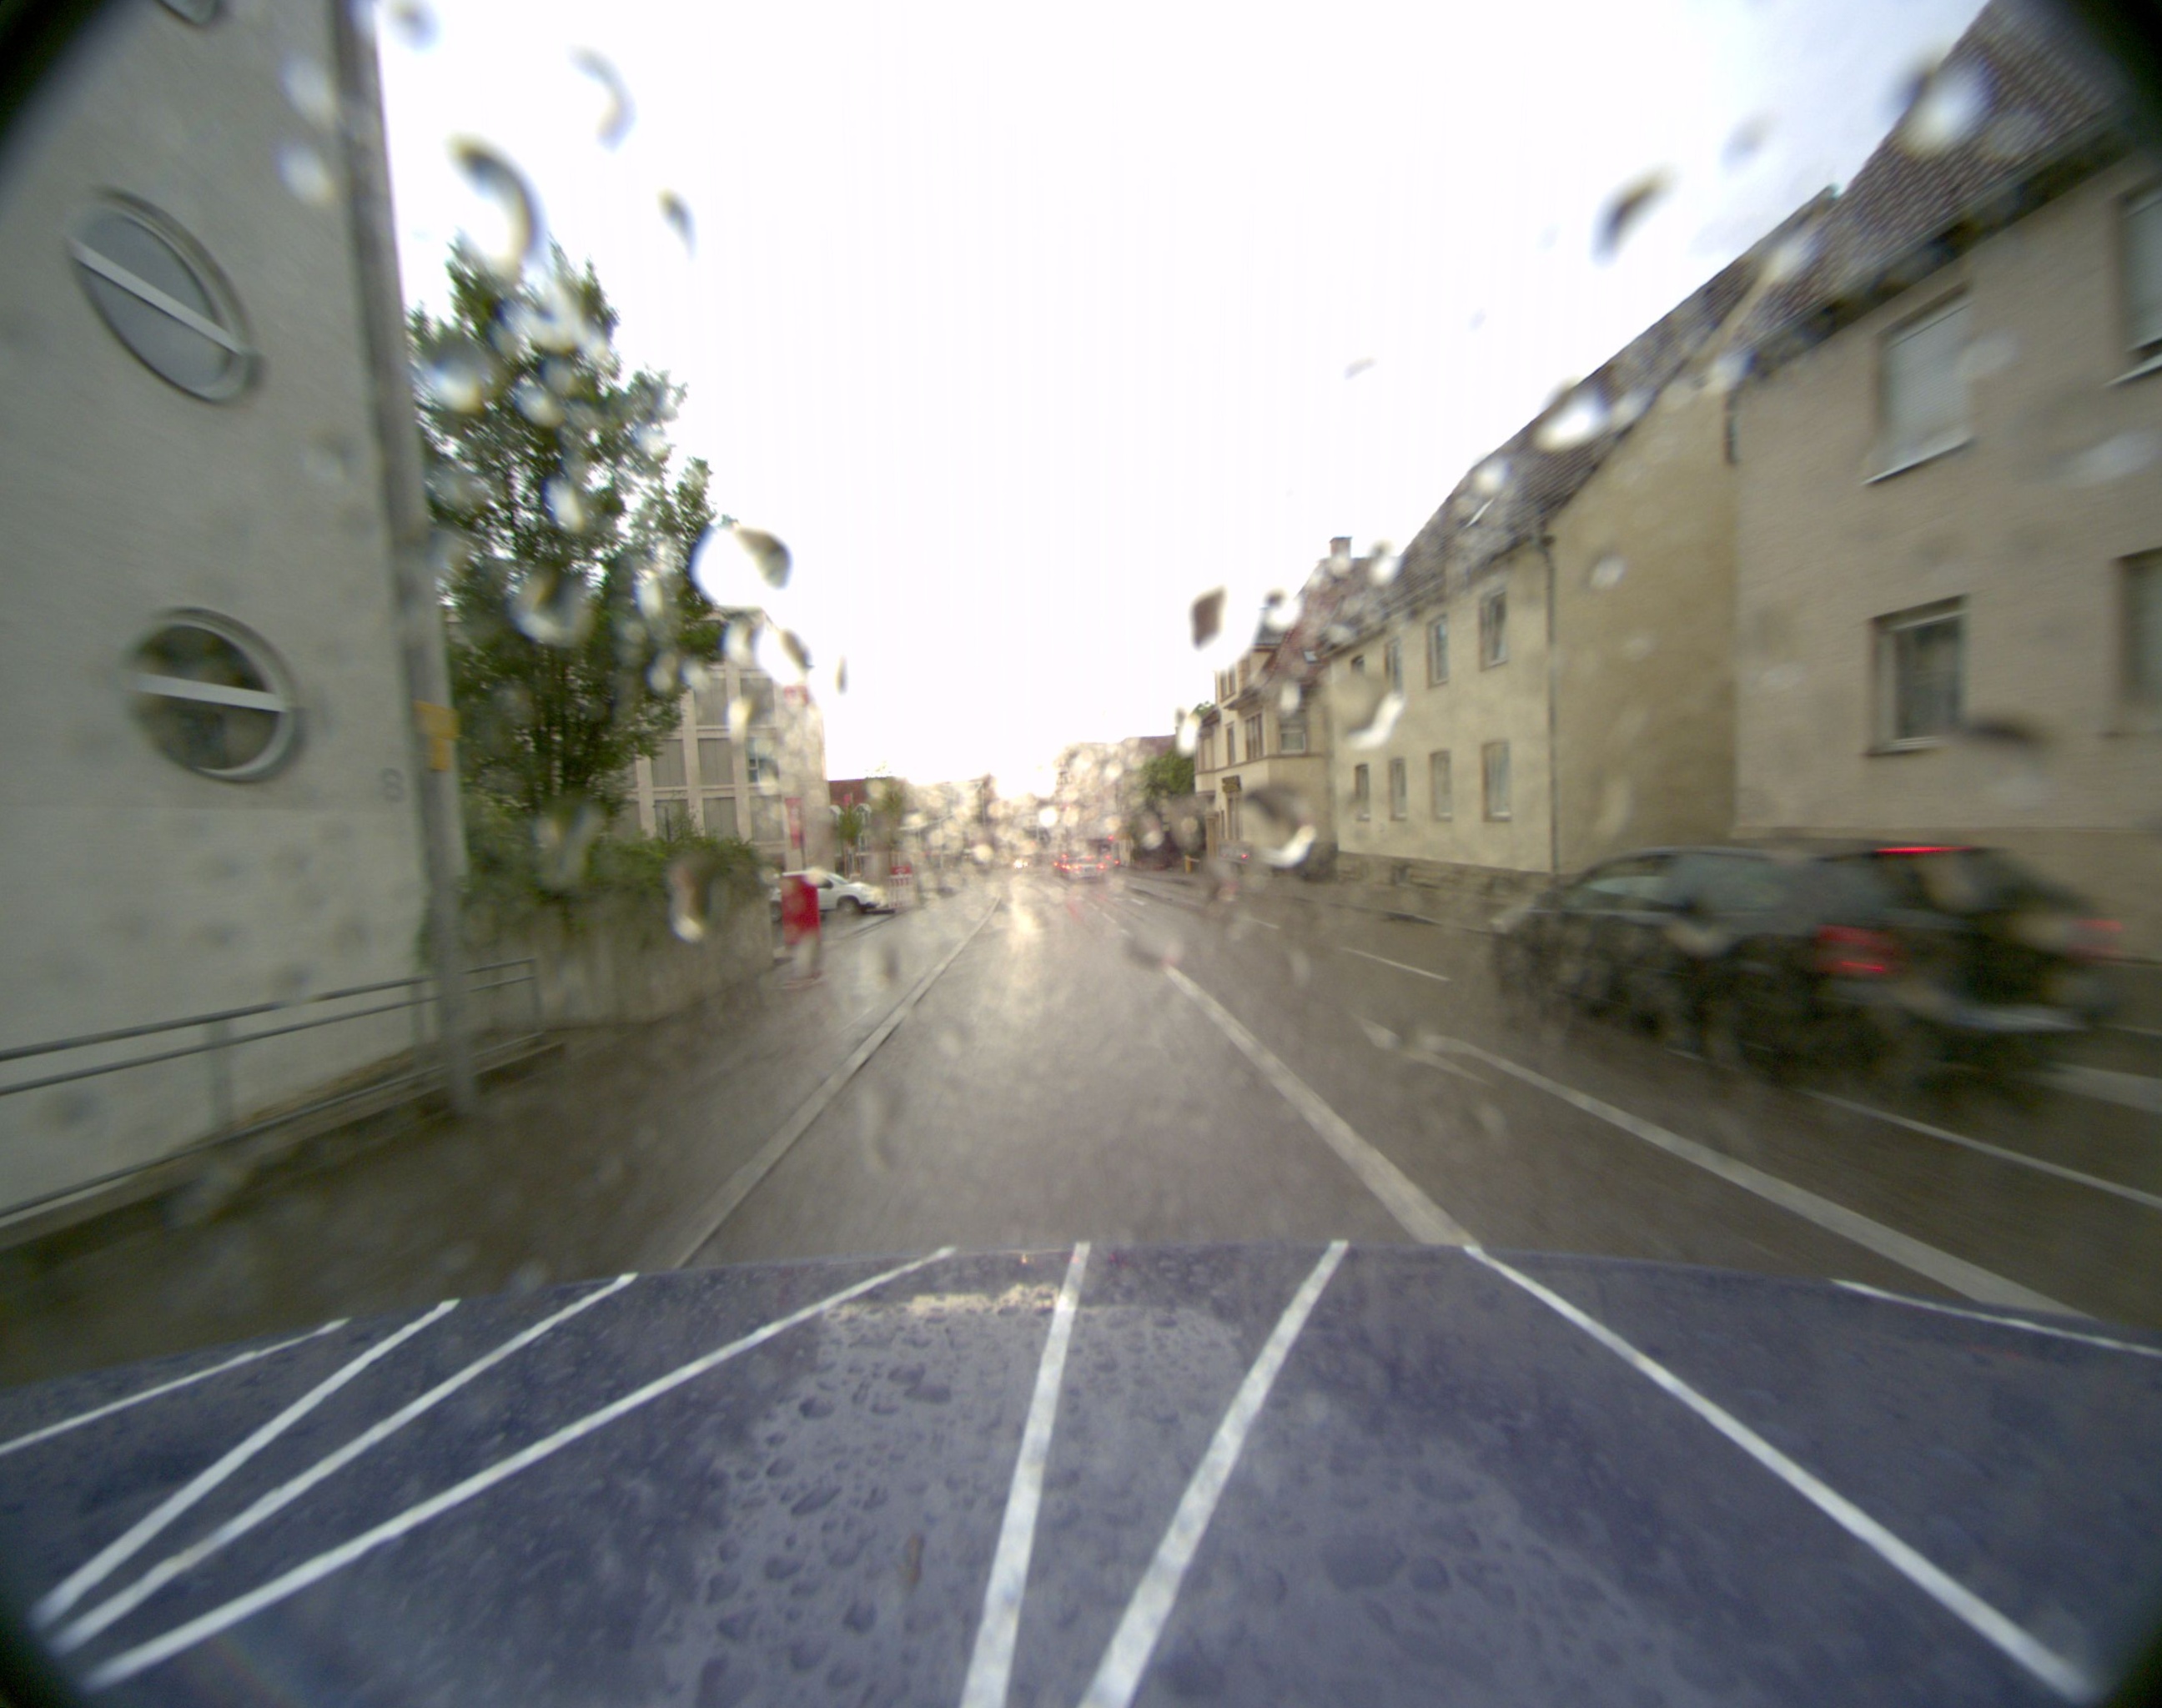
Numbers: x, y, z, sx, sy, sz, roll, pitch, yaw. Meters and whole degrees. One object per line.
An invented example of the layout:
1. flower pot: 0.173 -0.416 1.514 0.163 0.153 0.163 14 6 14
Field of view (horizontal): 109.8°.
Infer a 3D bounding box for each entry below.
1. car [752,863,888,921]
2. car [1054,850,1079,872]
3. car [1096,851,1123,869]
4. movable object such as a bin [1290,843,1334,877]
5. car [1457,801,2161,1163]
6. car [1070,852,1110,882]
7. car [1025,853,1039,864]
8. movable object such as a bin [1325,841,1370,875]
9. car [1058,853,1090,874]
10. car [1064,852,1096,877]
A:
1. car: -8.293 1.179 24.412 3.677 1.494 1.776 -4 0 -4
2. car: -1.239 0.540 63.615 1.853 1.654 4.218 -3 0 -3
3. car: 2.314 0.501 63.561 1.742 1.346 4.058 -3 0 -4
4. movable object such as a bin: 9.030 0.231 29.733 1.283 1.259 1.050 -4 1 -5
5. car: 4.682 0.588 5.549 1.750 1.562 3.812 -6 1 -2
6. car: 0.454 0.666 42.092 1.804 1.431 4.687 -3 0 -3
7. car: -7.378 0.693 114.010 1.728 1.538 3.997 -4 0 -8
8. movable object such as a bin: 10.375 0.150 29.641 1.283 1.259 1.050 -4 1 -5
9. car: -0.574 0.666 56.377 1.946 1.432 5.014 -3 0 -4
10. car: -0.117 0.661 50.382 1.804 1.431 4.687 -3 0 -4
